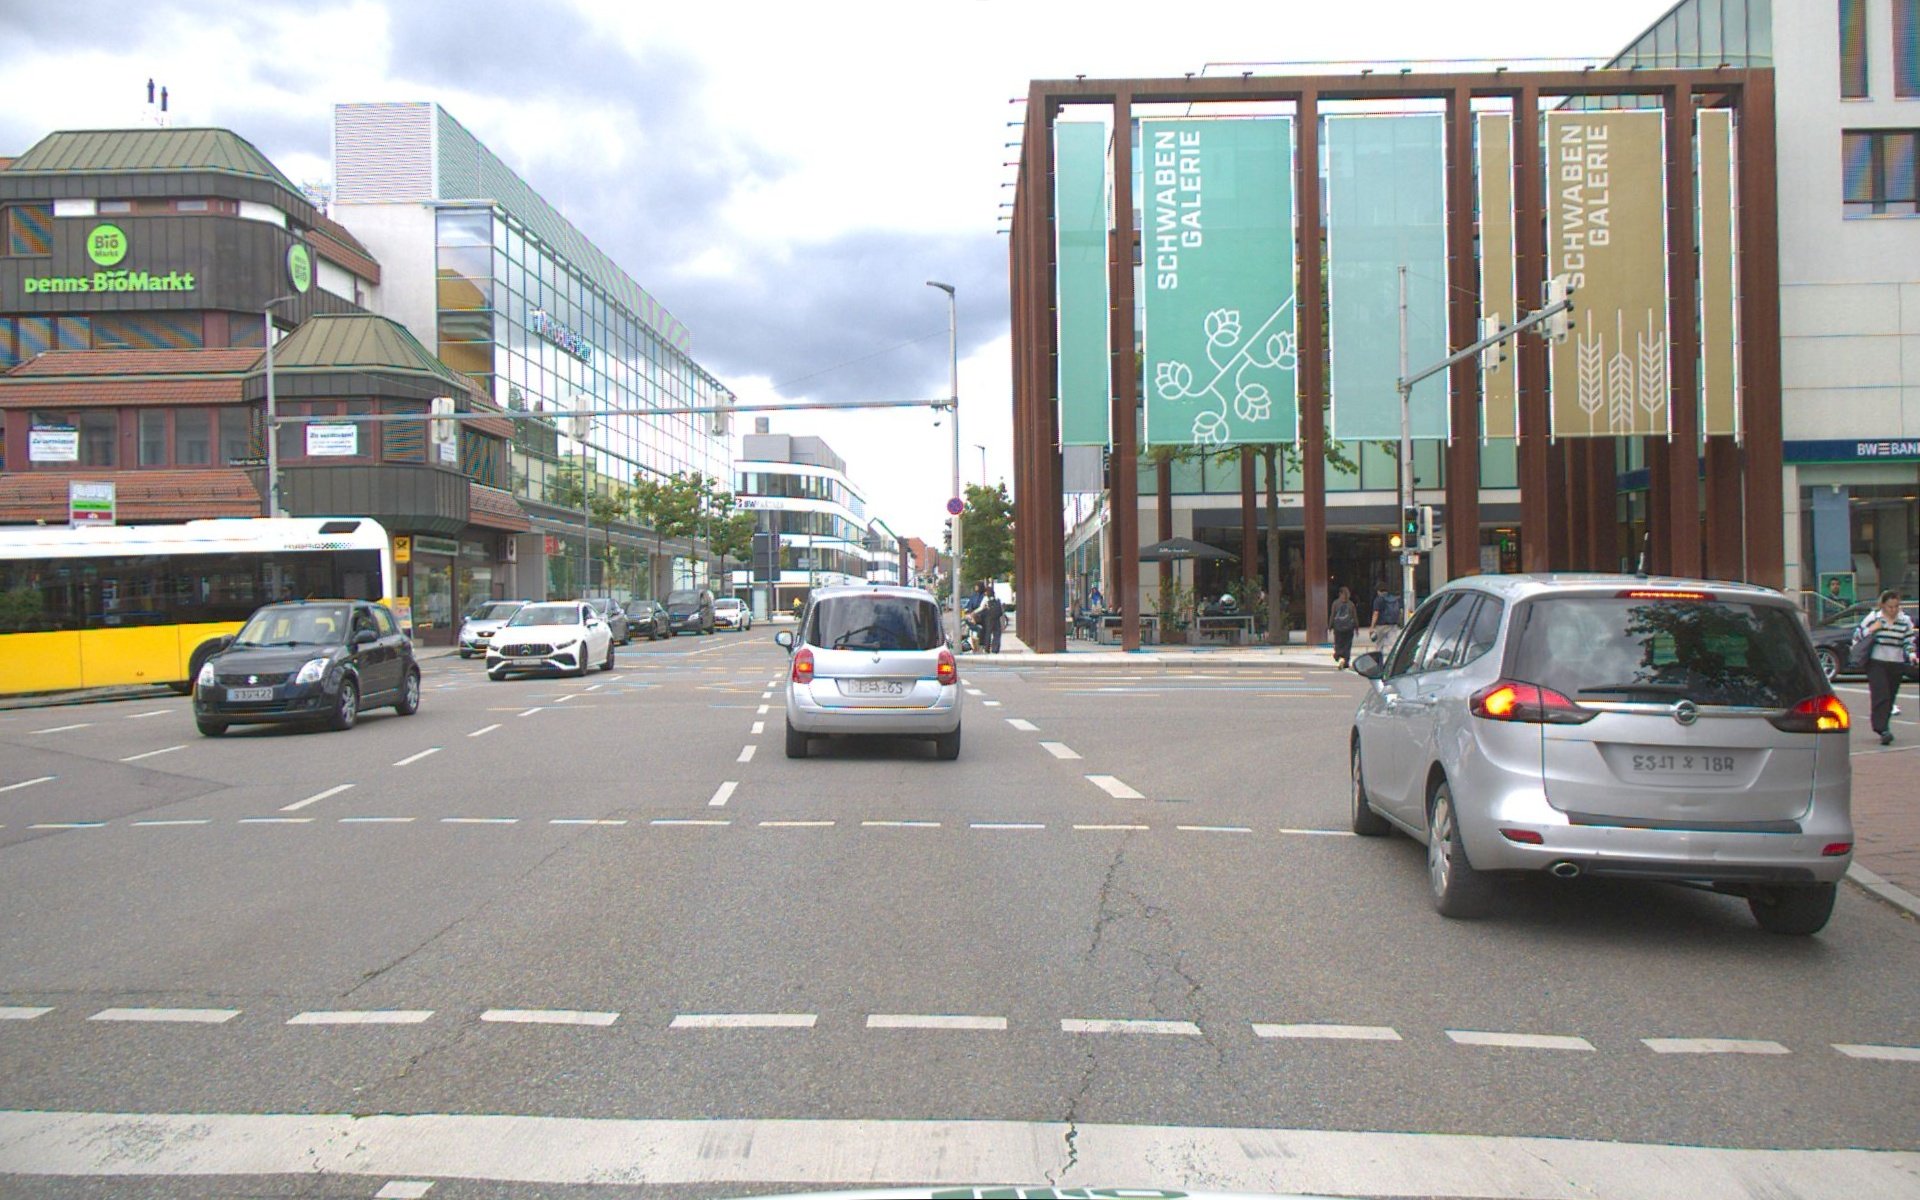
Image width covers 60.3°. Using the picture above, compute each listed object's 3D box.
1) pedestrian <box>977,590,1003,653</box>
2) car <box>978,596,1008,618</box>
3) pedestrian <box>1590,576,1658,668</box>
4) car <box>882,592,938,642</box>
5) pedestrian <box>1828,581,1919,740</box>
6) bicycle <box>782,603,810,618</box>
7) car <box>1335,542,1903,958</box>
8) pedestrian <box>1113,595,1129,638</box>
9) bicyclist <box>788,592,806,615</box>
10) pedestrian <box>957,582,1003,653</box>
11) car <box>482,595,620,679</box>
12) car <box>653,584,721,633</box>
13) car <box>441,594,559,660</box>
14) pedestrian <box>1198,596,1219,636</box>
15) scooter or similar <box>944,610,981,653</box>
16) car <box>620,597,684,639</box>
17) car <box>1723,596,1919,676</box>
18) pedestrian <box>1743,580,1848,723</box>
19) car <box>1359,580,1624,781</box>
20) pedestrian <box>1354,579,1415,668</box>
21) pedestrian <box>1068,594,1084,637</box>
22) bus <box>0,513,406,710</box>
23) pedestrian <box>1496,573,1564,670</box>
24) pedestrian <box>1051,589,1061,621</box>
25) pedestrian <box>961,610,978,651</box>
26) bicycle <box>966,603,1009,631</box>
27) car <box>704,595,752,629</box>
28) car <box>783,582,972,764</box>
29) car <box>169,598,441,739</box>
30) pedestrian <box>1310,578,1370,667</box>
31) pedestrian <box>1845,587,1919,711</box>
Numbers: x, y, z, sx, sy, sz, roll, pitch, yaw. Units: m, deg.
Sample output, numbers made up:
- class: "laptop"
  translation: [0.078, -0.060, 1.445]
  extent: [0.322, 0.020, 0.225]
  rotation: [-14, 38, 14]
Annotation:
- class: "pedestrian"
  translation: [0.699, 0.499, 38.593]
  extent: [0.589, 1.445, 0.582]
  rotation: [0, 0, 3]
- class: "car"
  translation: [2.105, 0.426, 105.532]
  extent: [1.838, 1.358, 4.001]
  rotation: [1, 0, 1]
- class: "pedestrian"
  translation: [13.312, 0.438, 33.170]
  extent: [0.861, 1.798, 1.120]
  rotation: [-1, 0, -2]
- class: "car"
  translation: [-1.642, 0.554, 55.452]
  extent: [1.635, 1.581, 3.643]
  rotation: [1, 0, 2]
- class: "pedestrian"
  translation: [10.028, 0.634, 17.893]
  extent: [0.726, 1.654, 0.953]
  rotation: [-1, 0, -3]
- class: "bicycle"
  translation: [-12.005, 0.789, 120.753]
  extent: [0.994, 1.036, 3.103]
  rotation: [2, 0, -26]
- class: "car"
  translation: [3.304, 0.631, 9.263]
  extent: [1.703, 1.730, 4.383]
  rotation: [1, 0, 4]
- class: "pedestrian"
  translation: [4.650, 0.466, 47.677]
  extent: [0.438, 1.241, 0.607]
  rotation: [-1, 0, 5]
- class: "bicyclist"
  translation: [-11.864, 0.266, 120.491]
  extent: [0.994, 1.689, 0.925]
  rotation: [2, -1, -27]
- class: "pedestrian"
  translation: [0.470, 0.412, 39.522]
  extent: [0.855, 1.675, 0.678]
  rotation: [0, 0, 35]
- class: "car"
  translation: [-7.931, 0.666, 32.461]
  extent: [1.709, 1.484, 4.234]
  rotation: [-1, 0, -1]
- class: "car"
  translation: [-11.454, 0.328, 69.644]
  extent: [1.827, 1.943, 5.114]
  rotation: [-2, 0, 1]
- class: "car"
  translation: [-11.962, 0.671, 43.284]
  extent: [1.600, 1.442, 4.202]
  rotation: [-3, 2, 4]
- class: "pedestrian"
  translation: [7.783, 0.487, 51.811]
  extent: [0.504, 1.229, 0.795]
  rotation: [-1, 1, -1]
- class: "scooter or similar"
  translation: [0.058, 0.735, 39.001]
  extent: [0.622, 0.978, 0.619]
  rotation: [-1, 0, 34]
- class: "car"
  translation: [-11.220, 0.628, 60.543]
  extent: [1.667, 1.468, 3.999]
  rotation: [-1, 0, -1]
- class: "car"
  translation: [16.487, 0.643, 30.418]
  extent: [4.088, 1.428, 1.800]
  rotation: [0, 0, -2]
- class: "pedestrian"
  translation: [10.005, 0.602, 19.840]
  extent: [0.726, 1.654, 0.953]
  rotation: [-1, 0, -3]
- class: "car"
  translation: [5.369, 0.663, 16.255]
  extent: [1.815, 1.637, 4.857]
  rotation: [1, 0, 26]
- class: "pedestrian"
  translation: [8.354, 0.462, 32.584]
  extent: [0.861, 1.711, 1.120]
  rotation: [-1, 0, -2]
- class: "pedestrian"
  translation: [3.353, 0.441, 47.762]
  extent: [0.438, 1.241, 0.607]
  rotation: [-1, 0, 3]
- class: "bus"
  translation: [-16.988, 0.237, 31.085]
  extent: [12.195, 3.385, 2.953]
  rotation: [-4, 0, -41]
- class: "pedestrian"
  translation: [10.884, 0.399, 31.621]
  extent: [0.861, 1.798, 1.120]
  rotation: [-1, 0, -2]
- class: "pedestrian"
  translation: [4.687, 0.246, 80.738]
  extent: [0.418, 1.576, 0.481]
  rotation: [-1, 0, -1]
- class: "pedestrian"
  translation: [0.224, 0.718, 38.564]
  extent: [0.354, 0.940, 0.455]
  rotation: [0, 0, 3]
- class: "bicycle"
  translation: [1.026, 0.617, 61.251]
  extent: [1.528, 1.010, 0.753]
  rotation: [-1, 0, 4]
- class: "car"
  translation: [-10.867, 0.551, 77.707]
  extent: [1.626, 1.491, 4.000]
  rotation: [-2, 0, 1]
- class: "car"
  translation: [-0.770, 0.640, 16.446]
  extent: [1.636, 1.581, 3.641]
  rotation: [1, 0, -1]
- class: "car"
  translation: [-7.795, 0.747, 20.077]
  extent: [1.708, 1.484, 3.818]
  rotation: [-1, 0, 1]
- class: "pedestrian"
  translation: [7.435, 0.431, 32.431]
  extent: [0.861, 1.711, 1.120]
  rotation: [-1, 0, -2]
- class: "pedestrian"
  translation: [12.492, 0.635, 22.104]
  extent: [0.804, 1.623, 1.040]
  rotation: [0, 0, 4]
